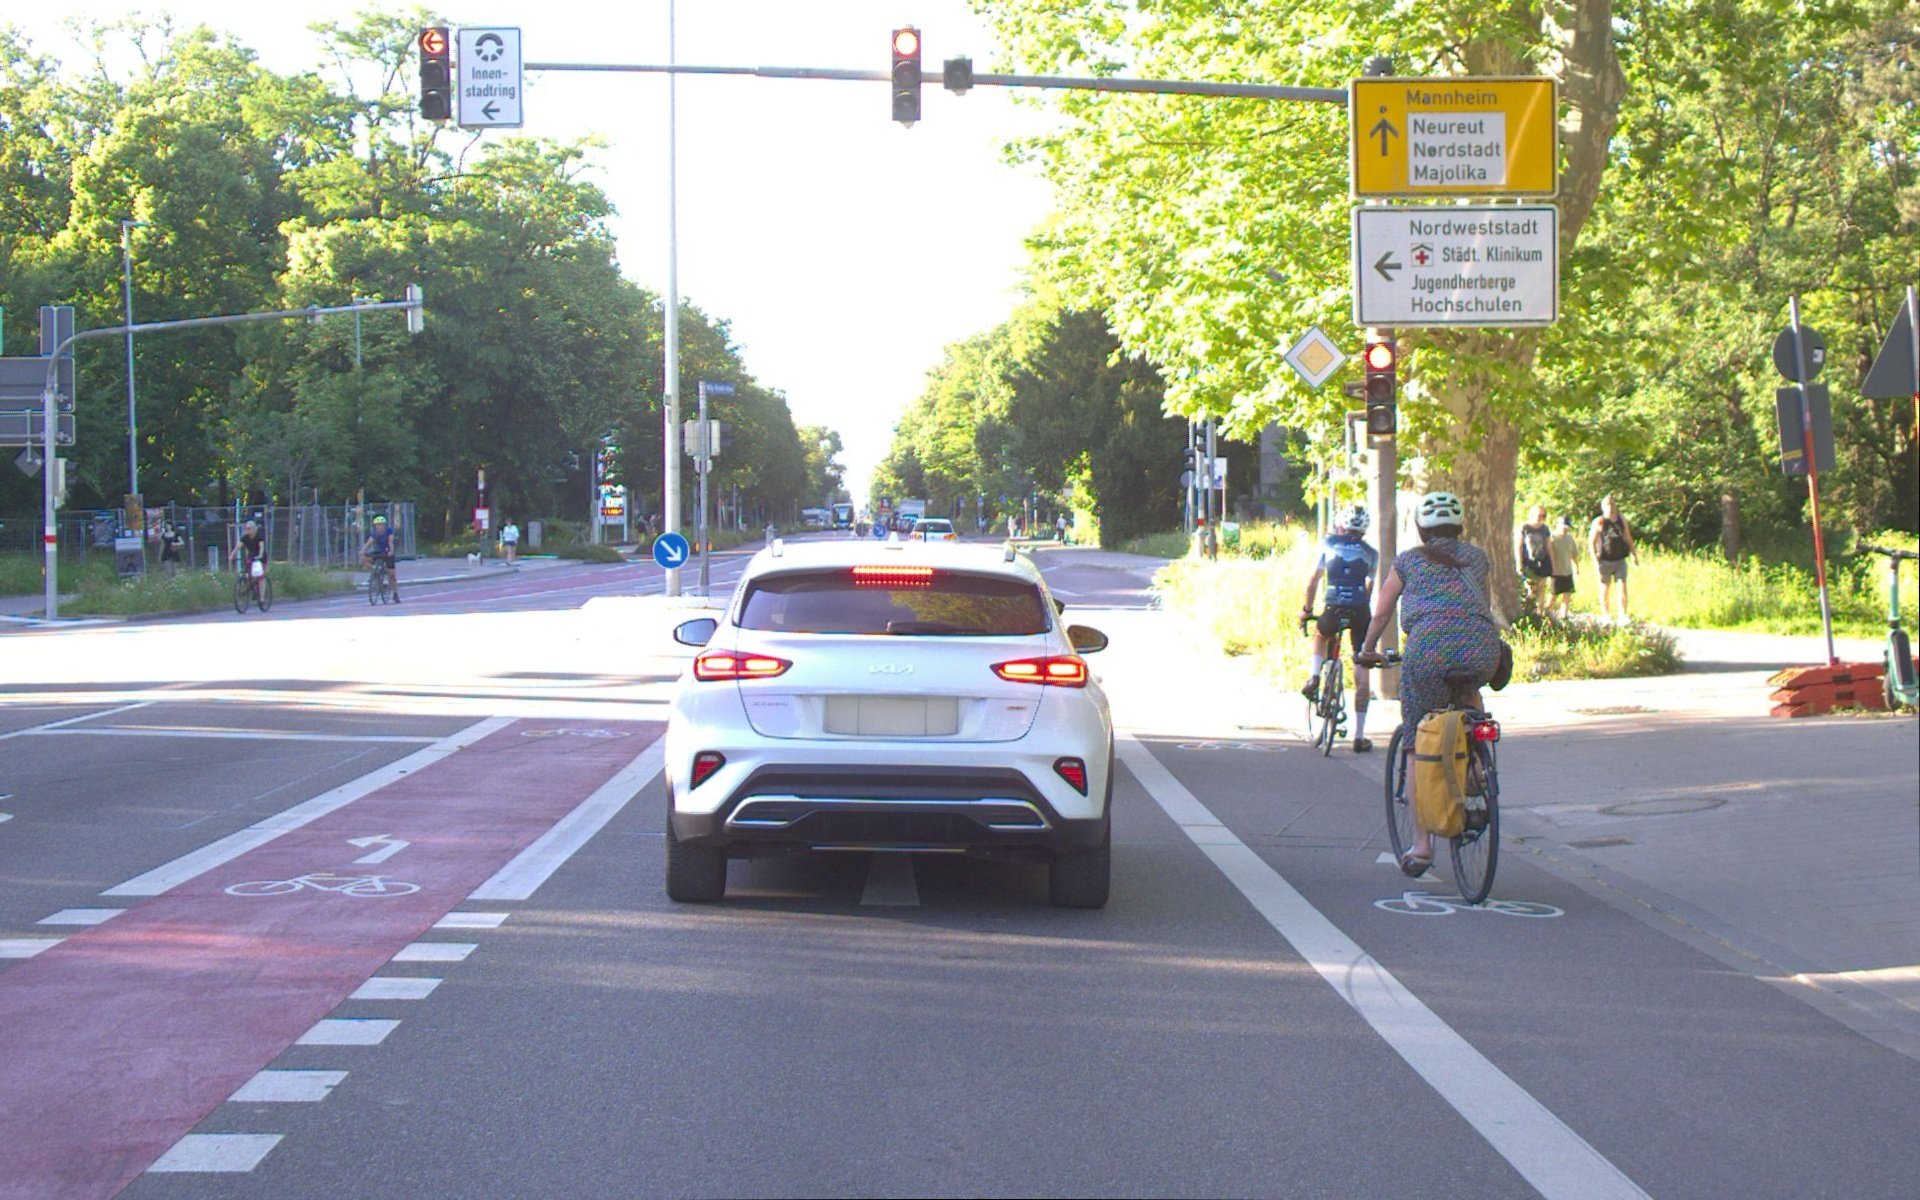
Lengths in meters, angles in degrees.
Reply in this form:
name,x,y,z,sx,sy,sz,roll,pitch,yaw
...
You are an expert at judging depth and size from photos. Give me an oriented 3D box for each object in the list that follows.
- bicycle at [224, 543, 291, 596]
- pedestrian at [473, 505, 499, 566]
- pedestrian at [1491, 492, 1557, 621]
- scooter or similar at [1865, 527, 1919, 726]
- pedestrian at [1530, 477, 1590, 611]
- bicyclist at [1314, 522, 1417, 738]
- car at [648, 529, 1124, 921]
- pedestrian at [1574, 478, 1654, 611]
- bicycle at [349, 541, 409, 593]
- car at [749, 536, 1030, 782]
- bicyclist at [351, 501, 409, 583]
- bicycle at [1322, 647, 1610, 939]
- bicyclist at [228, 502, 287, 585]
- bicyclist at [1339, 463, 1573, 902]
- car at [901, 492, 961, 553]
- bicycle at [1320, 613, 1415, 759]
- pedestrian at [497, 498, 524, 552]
name,x,y,z,sx,sy,sz,roll,pitch,yaw
bicycle,-13.787,-0.609,67.557,0.579,0.985,2.714,-1,2,3
pedestrian,-15.590,-2.118,113.082,0.641,2.007,0.753,1,1,11
pedestrian,7.484,-0.579,45.647,0.689,1.693,0.644,-1,1,-6
scooter or similar,6.510,0.166,23.622,0.228,1.322,1.172,-1,1,-1
pedestrian,8.007,-0.755,45.895,0.615,1.765,0.647,-1,1,-7
bicyclist,2.858,0.203,24.279,0.554,1.473,0.717,-3,1,-1
car,-0.331,0.440,15.168,1.821,1.475,3.937,0,1,-1
pedestrian,8.798,-0.753,46.273,0.817,1.765,0.832,-1,1,-7
bicycle,-11.591,-0.669,68.686,0.663,0.985,2.504,-1,2,2
car,-0.489,0.335,23.174,1.728,1.478,3.517,-1,1,-2
bicyclist,-11.595,-1.162,68.752,0.875,1.603,1.188,-1,1,2
bicycle,2.099,0.769,14.629,0.758,1.009,2.570,2,1,-1
bicyclist,-13.794,-1.110,67.525,0.875,1.601,0.978,-1,1,3
bicyclist,2.104,0.327,14.734,0.753,1.789,1.165,2,1,-1
car,-0.971,-2.684,118.654,1.993,2.007,4.000,-1,2,0
bicycle,2.877,0.591,24.349,0.401,0.953,1.551,-3,1,-1
pedestrian,-14.896,-2.470,113.889,0.785,1.779,0.751,1,1,1
